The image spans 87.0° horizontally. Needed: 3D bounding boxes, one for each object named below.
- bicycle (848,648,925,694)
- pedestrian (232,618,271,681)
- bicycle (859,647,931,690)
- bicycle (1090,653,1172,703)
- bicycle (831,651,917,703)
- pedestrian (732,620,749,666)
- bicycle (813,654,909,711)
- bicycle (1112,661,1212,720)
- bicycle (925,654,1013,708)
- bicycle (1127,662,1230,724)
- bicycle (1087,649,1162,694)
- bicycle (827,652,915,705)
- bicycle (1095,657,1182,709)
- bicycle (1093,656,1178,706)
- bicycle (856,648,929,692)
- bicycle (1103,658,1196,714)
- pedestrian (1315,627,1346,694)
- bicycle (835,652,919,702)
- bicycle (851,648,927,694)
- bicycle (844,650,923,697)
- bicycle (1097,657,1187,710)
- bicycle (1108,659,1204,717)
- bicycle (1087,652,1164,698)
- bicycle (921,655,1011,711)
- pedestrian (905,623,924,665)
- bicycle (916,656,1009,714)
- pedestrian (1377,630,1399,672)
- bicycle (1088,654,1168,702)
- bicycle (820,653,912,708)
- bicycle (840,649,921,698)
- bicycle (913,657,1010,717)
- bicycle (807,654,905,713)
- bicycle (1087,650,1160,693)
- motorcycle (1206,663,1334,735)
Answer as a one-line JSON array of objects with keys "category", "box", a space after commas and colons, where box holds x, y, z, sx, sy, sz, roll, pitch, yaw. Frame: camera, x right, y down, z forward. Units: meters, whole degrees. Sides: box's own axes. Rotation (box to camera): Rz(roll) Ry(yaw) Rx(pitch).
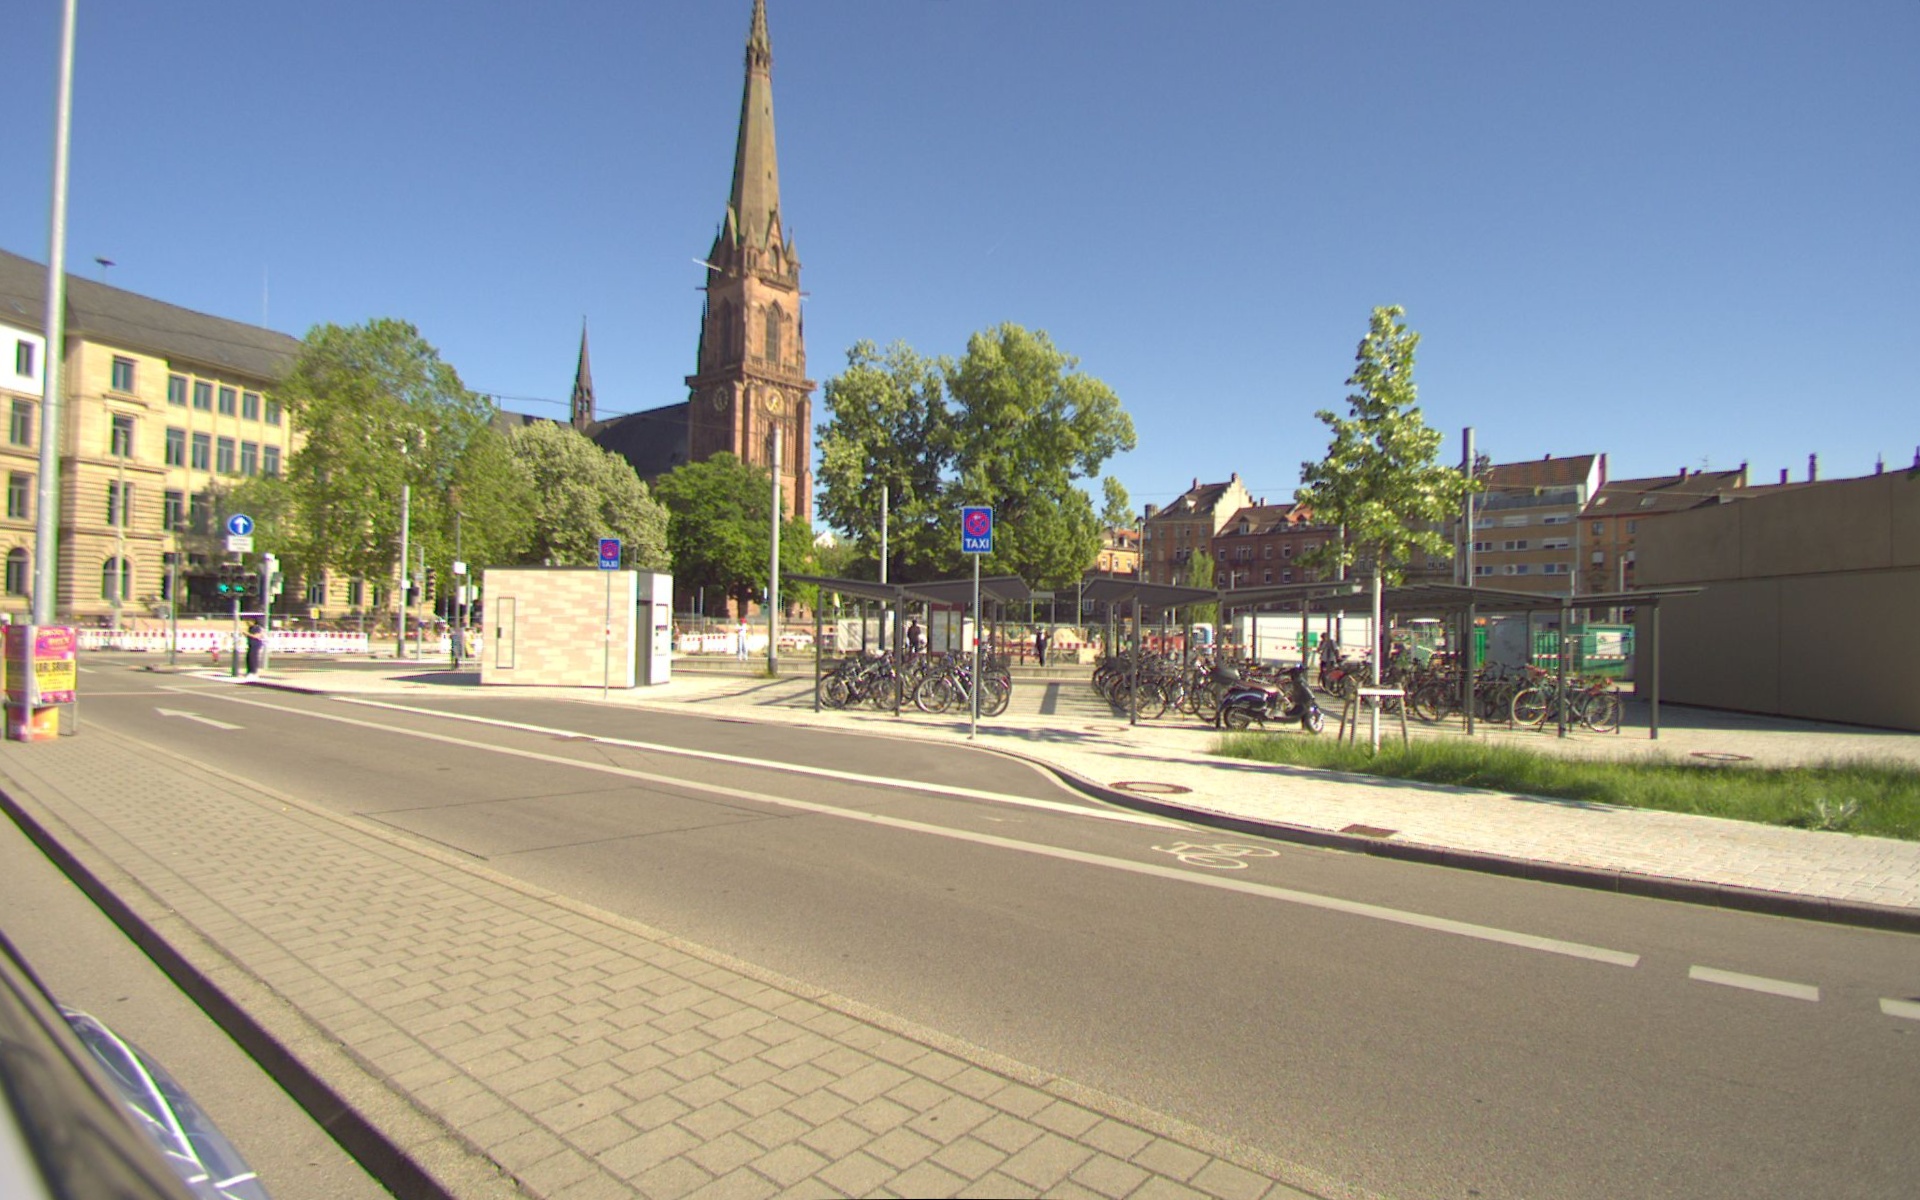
[{"category": "bicycle", "box": [-1.770, 1.701, 24.346, 1.764, 1.046, 0.567, 1, -3, 4]}, {"category": "pedestrian", "box": [-19.623, 1.362, 28.030, 0.648, 1.693, 0.779, -1, 0, 42]}, {"category": "bicycle", "box": [-1.671, 1.762, 26.140, 1.764, 1.046, 0.567, 1, -3, 4]}, {"category": "bicycle", "box": [3.882, 1.765, 23.021, 1.764, 1.046, 0.567, 1, -3, 4]}, {"category": "bicycle", "box": [-1.838, 1.661, 21.851, 1.764, 1.046, 0.567, 1, -3, 4]}, {"category": "pedestrian", "box": [-8.496, 1.660, 39.116, 0.529, 1.736, 0.684, 0, -6, -19]}, {"category": "bicycle", "box": [-1.921, 1.604, 19.777, 1.764, 1.046, 0.567, 1, -3, 4]}, {"category": "bicycle", "box": [3.829, 1.717, 19.259, 1.764, 1.046, 0.567, 1, -3, 4]}, {"category": "bicycle", "box": [0.188, 1.664, 20.873, 1.764, 1.046, 0.567, 1, -3, 4]}, {"category": "bicycle", "box": [4.017, 1.704, 18.662, 1.764, 1.046, 0.567, 1, -3, 4]}, {"category": "bicycle", "box": [4.096, 1.778, 25.212, 1.764, 1.046, 0.567, 1, -3, 4]}, {"category": "bicycle", "box": [-1.854, 1.639, 21.219, 1.764, 1.046, 0.567, 1, -3, 4]}, {"category": "bicycle", "box": [3.840, 1.770, 21.806, 1.764, 1.046, 0.567, 1, -3, 4]}, {"category": "bicycle", "box": [3.877, 1.787, 22.421, 1.764, 1.046, 0.567, 1, -3, 4]}, {"category": "bicycle", "box": [-1.697, 1.750, 25.538, 1.764, 1.046, 0.567, 1, -3, 4]}, {"category": "bicycle", "box": [3.827, 1.734, 20.503, 1.764, 1.046, 0.567, 1, -3, 4]}, {"category": "pedestrian", "box": [9.772, 1.589, 26.721, 0.616, 1.736, 0.674, -1, -2, 35]}, {"category": "bicycle", "box": [-1.834, 1.693, 22.467, 1.764, 1.046, 0.567, 1, -3, 4]}, {"category": "bicycle", "box": [-1.741, 1.741, 24.946, 1.764, 1.046, 0.567, 1, -3, 4]}, {"category": "bicycle", "box": [-1.791, 1.720, 23.749, 1.764, 1.046, 0.567, 1, -3, 4]}, {"category": "bicycle", "box": [3.791, 1.732, 21.134, 1.764, 1.046, 0.567, 1, -3, 4]}, {"category": "bicycle", "box": [3.827, 1.718, 19.845, 1.764, 1.046, 0.567, 1, -3, 4]}, {"category": "bicycle", "box": [3.988, 1.816, 24.485, 1.764, 1.046, 0.567, 1, -3, 4]}, {"category": "bicycle", "box": [0.126, 1.652, 20.263, 1.764, 1.046, 0.567, 1, -3, 4]}, {"category": "pedestrian", "box": [-1.824, 1.766, 40.981, 0.518, 1.667, 0.559, -1, 0, 41]}, {"category": "bicycle", "box": [0.061, 1.635, 19.623, 1.764, 1.046, 0.567, 1, -3, 4]}, {"category": "pedestrian", "box": [15.663, 1.866, 37.064, 0.581, 1.530, 0.559, 1, -2, 6]}, {"category": "bicycle", "box": [3.897, 1.810, 23.614, 1.764, 1.046, 0.567, 1, -3, 4]}, {"category": "bicycle", "box": [-1.889, 1.626, 20.532, 1.764, 1.046, 0.567, 1, -3, 4]}, {"category": "bicycle", "box": [-1.808, 1.678, 23.084, 1.764, 1.046, 0.567, 1, -3, 4]}, {"category": "bicycle", "box": [0.034, 1.613, 18.974, 1.764, 1.046, 0.567, 1, -3, 4]}, {"category": "bicycle", "box": [-1.954, 1.565, 19.126, 1.764, 1.046, 0.567, 1, -3, 4]}, {"category": "bicycle", "box": [4.191, 1.831, 25.975, 1.764, 1.046, 0.567, 1, -3, 4]}, {"category": "motorcycle", "box": [5.170, 1.640, 16.957, 1.961, 1.128, 0.593, 0, -2, 8]}]
